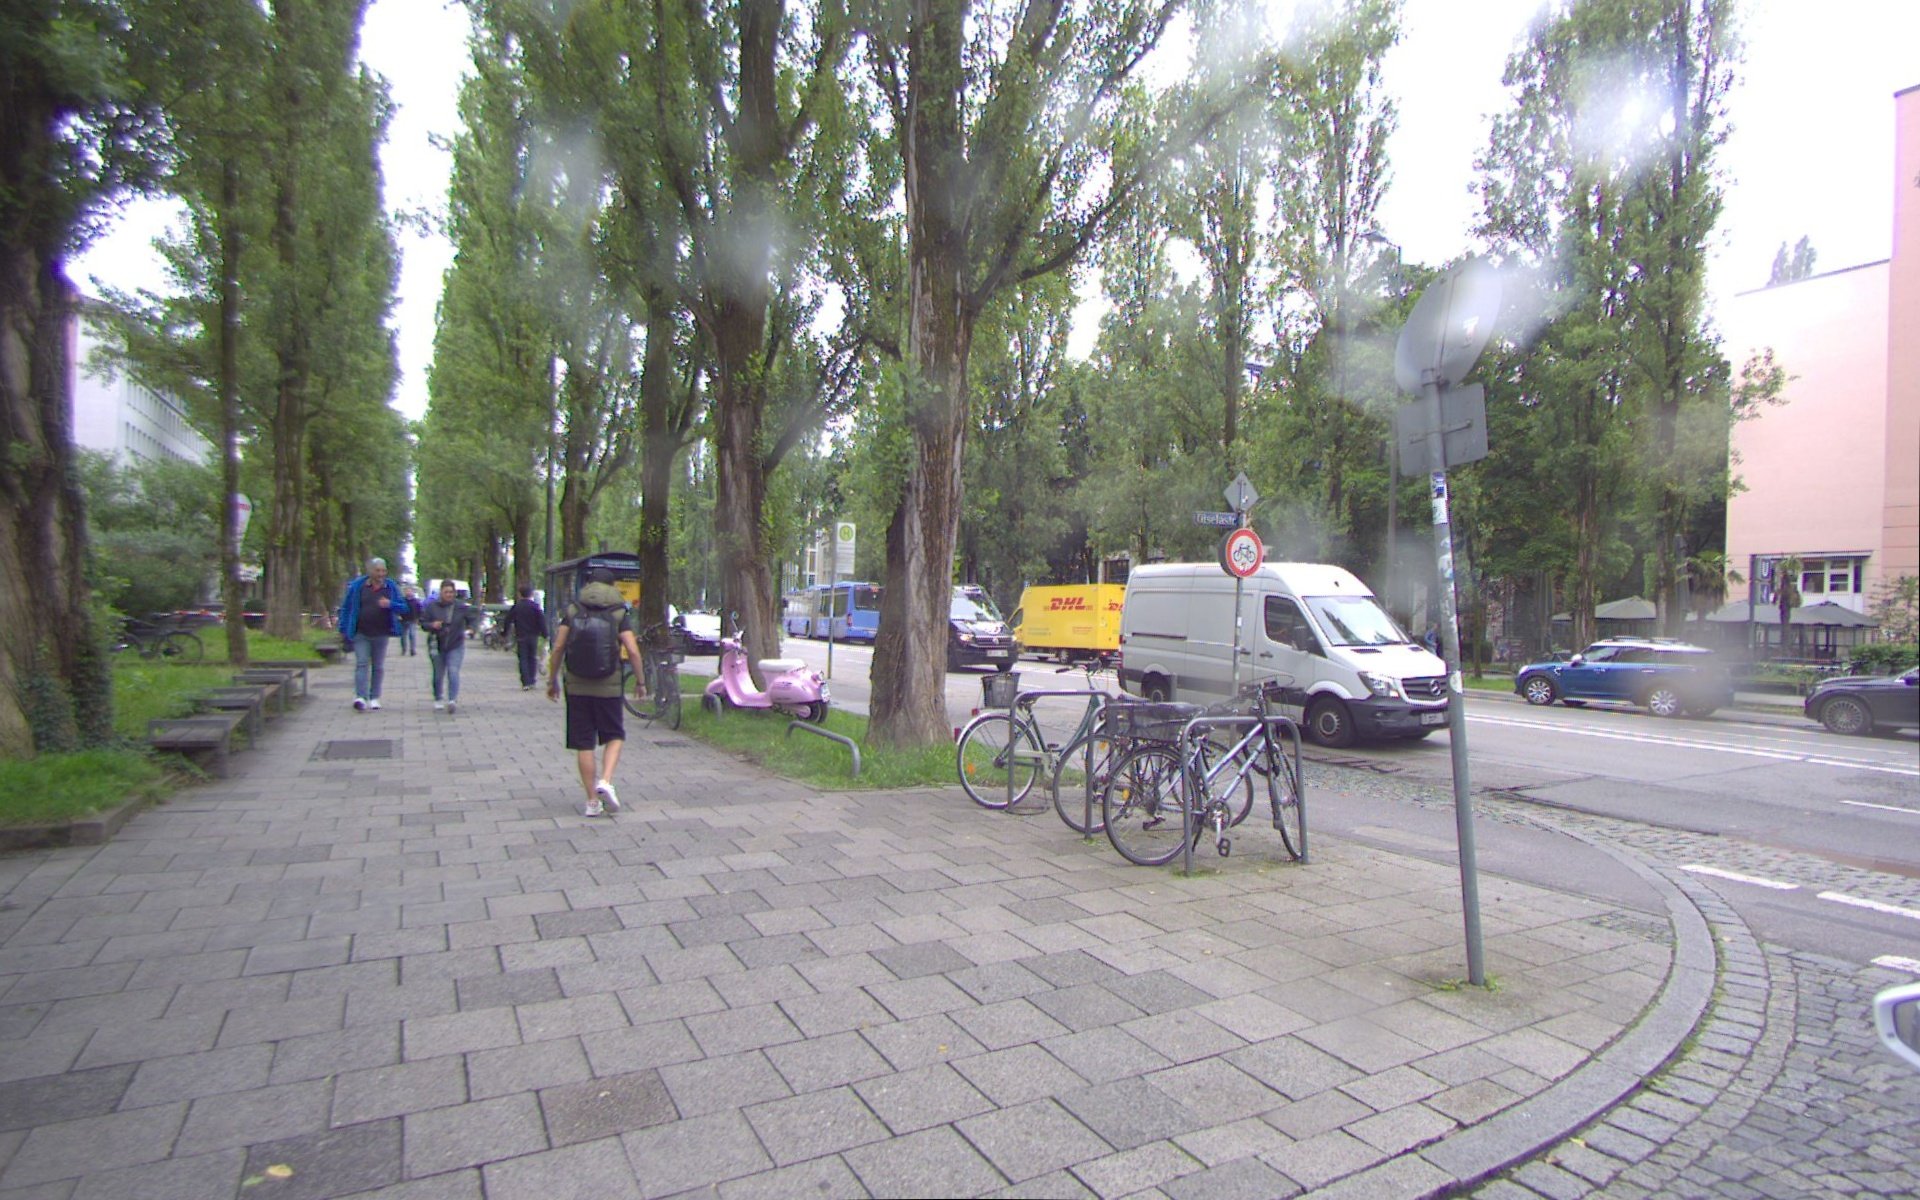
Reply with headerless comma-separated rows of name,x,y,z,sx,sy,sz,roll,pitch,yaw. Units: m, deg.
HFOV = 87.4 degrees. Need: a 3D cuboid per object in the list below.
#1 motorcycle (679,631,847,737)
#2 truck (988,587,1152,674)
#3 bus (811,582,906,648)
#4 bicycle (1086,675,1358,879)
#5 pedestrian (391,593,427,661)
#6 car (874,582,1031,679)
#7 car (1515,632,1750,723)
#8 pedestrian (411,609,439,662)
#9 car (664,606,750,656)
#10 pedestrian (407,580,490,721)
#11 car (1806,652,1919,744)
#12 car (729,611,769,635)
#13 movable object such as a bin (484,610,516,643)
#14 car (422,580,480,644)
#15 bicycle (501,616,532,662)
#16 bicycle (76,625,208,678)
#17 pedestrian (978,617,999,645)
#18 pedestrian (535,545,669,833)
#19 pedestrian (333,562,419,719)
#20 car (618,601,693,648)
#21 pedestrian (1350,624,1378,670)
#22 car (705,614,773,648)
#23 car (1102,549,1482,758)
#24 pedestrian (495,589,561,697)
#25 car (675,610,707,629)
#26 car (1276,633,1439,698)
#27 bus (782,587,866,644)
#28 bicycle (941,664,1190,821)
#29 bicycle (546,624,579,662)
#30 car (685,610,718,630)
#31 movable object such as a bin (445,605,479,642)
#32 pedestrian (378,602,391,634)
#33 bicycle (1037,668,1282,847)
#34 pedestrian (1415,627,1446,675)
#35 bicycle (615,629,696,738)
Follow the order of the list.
motorcycle,-2.438,1.007,12.430,1.951,1.211,0.630,1,-1,17
truck,3.937,1.083,37.745,2.569,2.946,7.028,2,-1,-28
bus,-5.407,0.803,51.964,2.883,3.092,8.479,2,-1,-20
bicycle,1.636,1.035,6.194,1.680,1.108,0.488,2,-1,-25
pedestrian,-14.295,0.700,26.055,0.726,1.715,0.643,2,-1,-26
car,-0.377,0.827,29.784,2.058,2.590,5.885,1,0,-30
car,15.108,1.701,22.792,1.773,1.754,4.045,4,-2,-30
pedestrian,-17.373,1.152,32.638,0.726,1.715,0.643,2,-1,-26
car,-8.971,1.051,35.372,1.988,1.601,3.970,2,-1,-28
pedestrian,-6.602,0.638,12.965,0.635,1.750,0.701,1,-1,37
car,18.009,1.795,17.654,1.772,1.549,4.480,2,-1,-29
car,-16.733,1.796,79.625,1.976,1.744,4.089,3,-2,-28
movable object such as a bin,-18.846,1.081,41.153,1.052,1.329,0.975,2,-1,-32
car,-26.157,0.619,51.512,2.175,3.057,5.949,2,-1,-31
bicycle,-12.605,1.089,28.502,0.576,1.204,2.125,2,-1,-29
bicycle,-14.903,0.936,18.365,1.782,0.925,0.615,2,-1,-33
pedestrian,1.828,1.976,64.464,1.018,1.736,0.937,2,-2,-29
pedestrian,-2.413,0.566,6.738,0.742,1.796,0.701,2,-1,-25
pedestrian,-7.436,0.503,12.801,0.635,1.933,0.701,1,-1,37
car,-12.318,1.019,40.499,1.989,1.780,3.967,1,-2,-31
pedestrian,15.642,1.829,38.897,0.700,1.736,0.726,2,-1,-29
car,-10.995,1.496,49.705,1.977,1.596,4.601,1,0,-30
car,4.886,0.716,15.995,2.022,2.687,5.995,0,-1,-29
pedestrian,-7.242,0.709,16.815,0.849,1.734,0.951,2,-1,-31
car,-26.400,1.917,98.483,1.976,1.744,4.779,3,-2,-28
car,11.352,1.832,28.946,1.772,1.622,4.204,2,-1,-29
bus,-8.279,0.924,59.927,2.883,3.092,9.750,2,-1,-20
bicycle,0.857,1.078,7.898,1.957,1.108,0.488,2,-1,-25
bicycle,-11.472,1.229,28.997,0.548,1.035,1.747,2,-1,-32
car,-24.174,1.879,93.785,1.976,1.744,4.089,3,-2,-28
movable object such as a bin,-19.810,0.946,39.953,1.052,1.423,0.975,2,-1,-32
pedestrian,-30.878,0.970,53.892,0.498,1.715,0.518,2,-1,-26
bicycle,1.398,1.044,6.956,1.680,1.108,0.488,2,-1,-25
pedestrian,17.256,1.859,36.860,0.700,1.736,0.726,2,-1,-29
bicycle,-3.732,0.977,12.240,0.576,1.204,1.603,2,-1,-29
